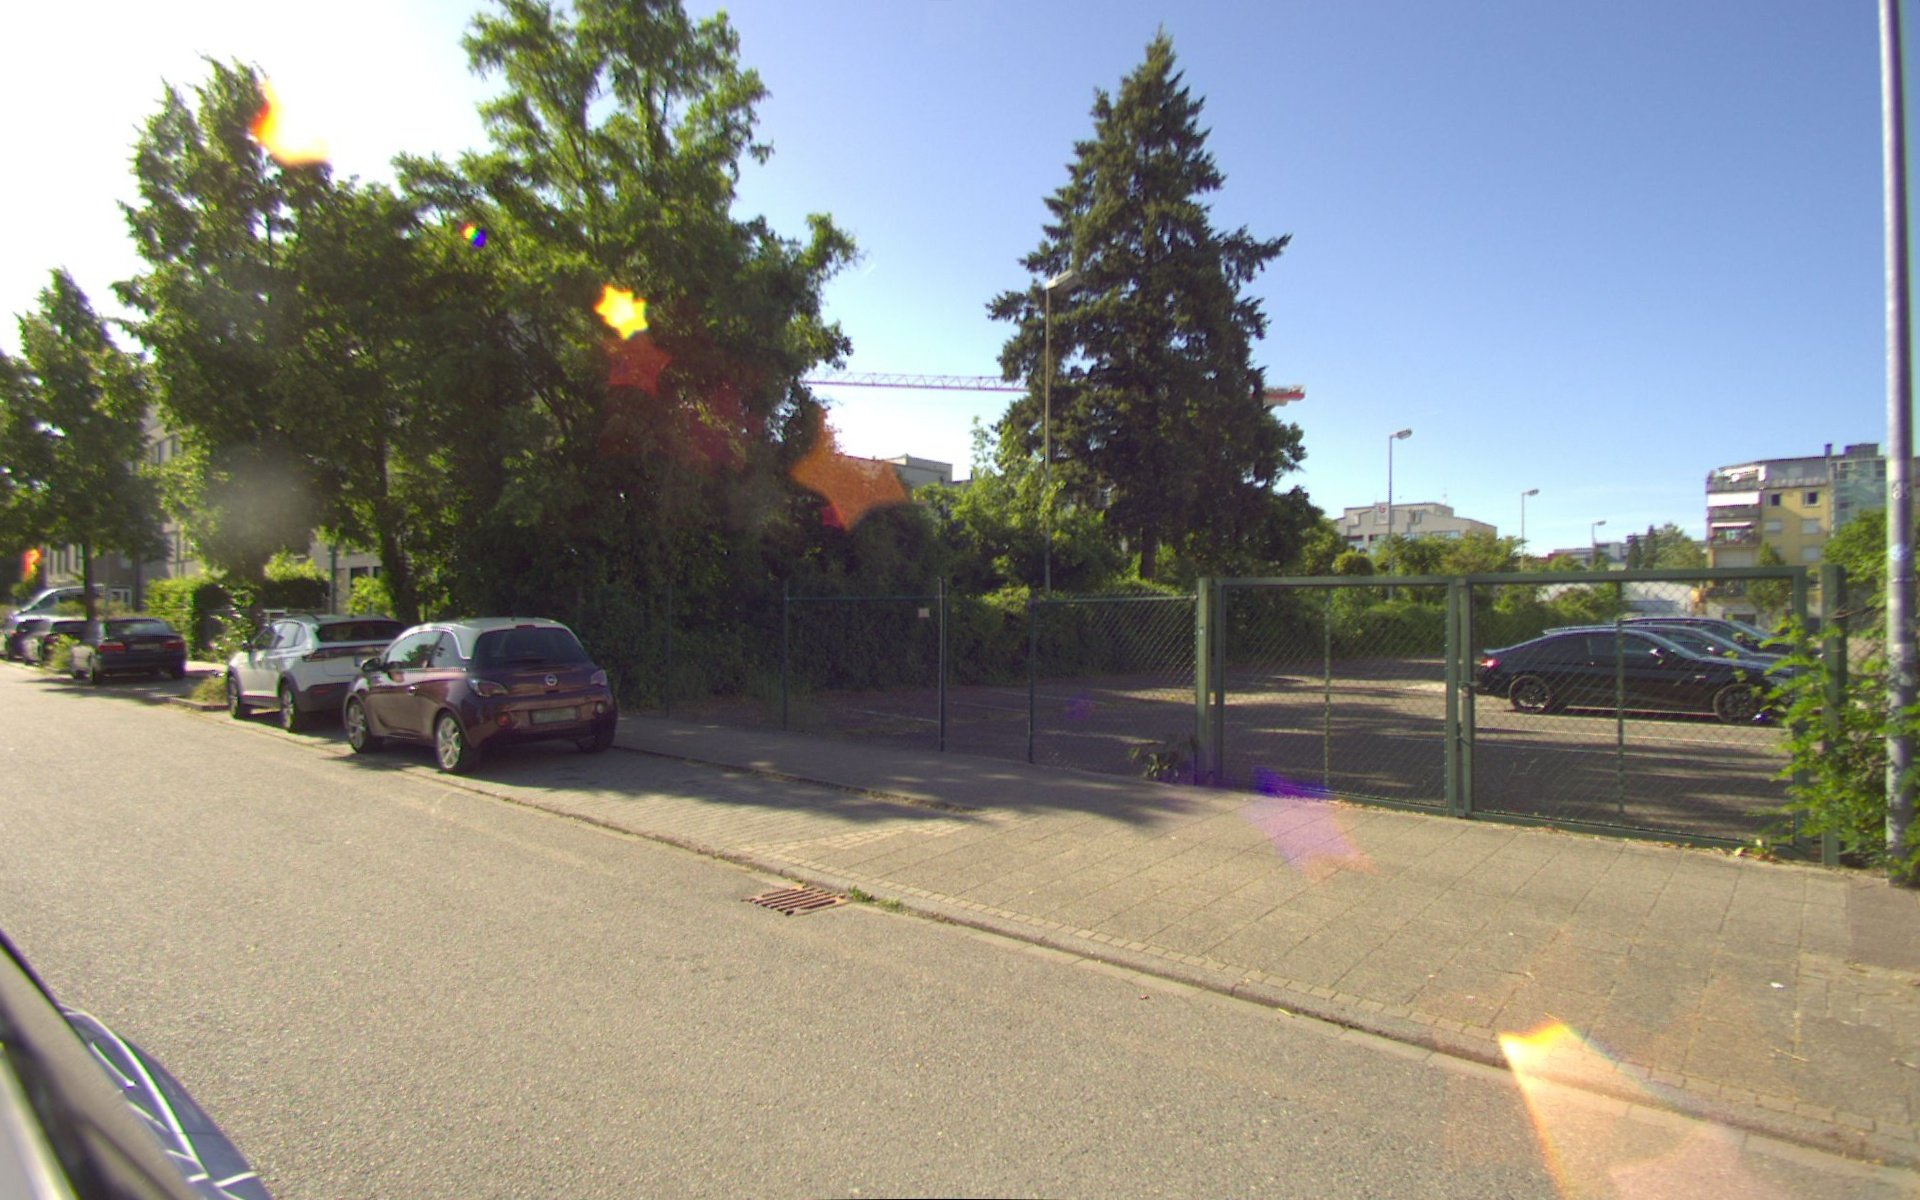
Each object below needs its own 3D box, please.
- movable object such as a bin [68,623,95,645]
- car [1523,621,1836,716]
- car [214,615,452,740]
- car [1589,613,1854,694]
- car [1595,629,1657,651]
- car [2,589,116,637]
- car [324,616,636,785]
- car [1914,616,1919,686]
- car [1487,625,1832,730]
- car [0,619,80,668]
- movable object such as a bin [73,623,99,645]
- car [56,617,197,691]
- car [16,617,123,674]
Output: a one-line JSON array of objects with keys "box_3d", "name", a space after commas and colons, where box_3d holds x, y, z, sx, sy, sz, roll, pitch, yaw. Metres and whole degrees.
[{"box_3d": [-44.642, 1.701, 51.424, 0.680, 1.045, 0.910, -1, 2, 38], "name": "movable object such as a bin"}, {"box_3d": [12.860, 1.136, 18.269, 4.375, 1.506, 1.944, -1, -2, 44], "name": "car"}, {"box_3d": [-9.118, 0.991, 14.597, 4.000, 1.485, 1.821, -1, 1, 41], "name": "car"}, {"box_3d": [16.325, 1.082, 21.838, 4.375, 1.572, 1.944, -1, -2, 44], "name": "car"}, {"box_3d": [53.392, 3.183, 81.152, 3.998, 1.630, 1.973, 0, 0, 41], "name": "car"}, {"box_3d": [-57.360, 0.831, 64.509, 2.011, 2.924, 5.091, -1, -1, 37], "name": "car"}, {"box_3d": [-5.297, 0.947, 11.019, 3.543, 1.485, 1.701, -1, 1, 39], "name": "car"}, {"box_3d": [23.682, 1.126, 22.009, 4.244, 1.572, 1.870, -1, -2, 44], "name": "car"}, {"box_3d": [11.260, 1.149, 16.503, 4.375, 1.467, 1.944, -1, -2, 44], "name": "car"}, {"box_3d": [-30.984, 1.401, 33.828, 4.098, 1.485, 1.821, -1, 1, 41], "name": "car"}, {"box_3d": [-44.033, 1.706, 50.998, 0.677, 1.045, 0.852, -1, 2, 38], "name": "movable object such as a bin"}, {"box_3d": [-19.296, 1.175, 23.369, 4.358, 1.485, 1.821, -1, 1, 41], "name": "car"}, {"box_3d": [-26.246, 1.292, 29.788, 4.025, 1.485, 1.821, -1, 1, 41], "name": "car"}]
